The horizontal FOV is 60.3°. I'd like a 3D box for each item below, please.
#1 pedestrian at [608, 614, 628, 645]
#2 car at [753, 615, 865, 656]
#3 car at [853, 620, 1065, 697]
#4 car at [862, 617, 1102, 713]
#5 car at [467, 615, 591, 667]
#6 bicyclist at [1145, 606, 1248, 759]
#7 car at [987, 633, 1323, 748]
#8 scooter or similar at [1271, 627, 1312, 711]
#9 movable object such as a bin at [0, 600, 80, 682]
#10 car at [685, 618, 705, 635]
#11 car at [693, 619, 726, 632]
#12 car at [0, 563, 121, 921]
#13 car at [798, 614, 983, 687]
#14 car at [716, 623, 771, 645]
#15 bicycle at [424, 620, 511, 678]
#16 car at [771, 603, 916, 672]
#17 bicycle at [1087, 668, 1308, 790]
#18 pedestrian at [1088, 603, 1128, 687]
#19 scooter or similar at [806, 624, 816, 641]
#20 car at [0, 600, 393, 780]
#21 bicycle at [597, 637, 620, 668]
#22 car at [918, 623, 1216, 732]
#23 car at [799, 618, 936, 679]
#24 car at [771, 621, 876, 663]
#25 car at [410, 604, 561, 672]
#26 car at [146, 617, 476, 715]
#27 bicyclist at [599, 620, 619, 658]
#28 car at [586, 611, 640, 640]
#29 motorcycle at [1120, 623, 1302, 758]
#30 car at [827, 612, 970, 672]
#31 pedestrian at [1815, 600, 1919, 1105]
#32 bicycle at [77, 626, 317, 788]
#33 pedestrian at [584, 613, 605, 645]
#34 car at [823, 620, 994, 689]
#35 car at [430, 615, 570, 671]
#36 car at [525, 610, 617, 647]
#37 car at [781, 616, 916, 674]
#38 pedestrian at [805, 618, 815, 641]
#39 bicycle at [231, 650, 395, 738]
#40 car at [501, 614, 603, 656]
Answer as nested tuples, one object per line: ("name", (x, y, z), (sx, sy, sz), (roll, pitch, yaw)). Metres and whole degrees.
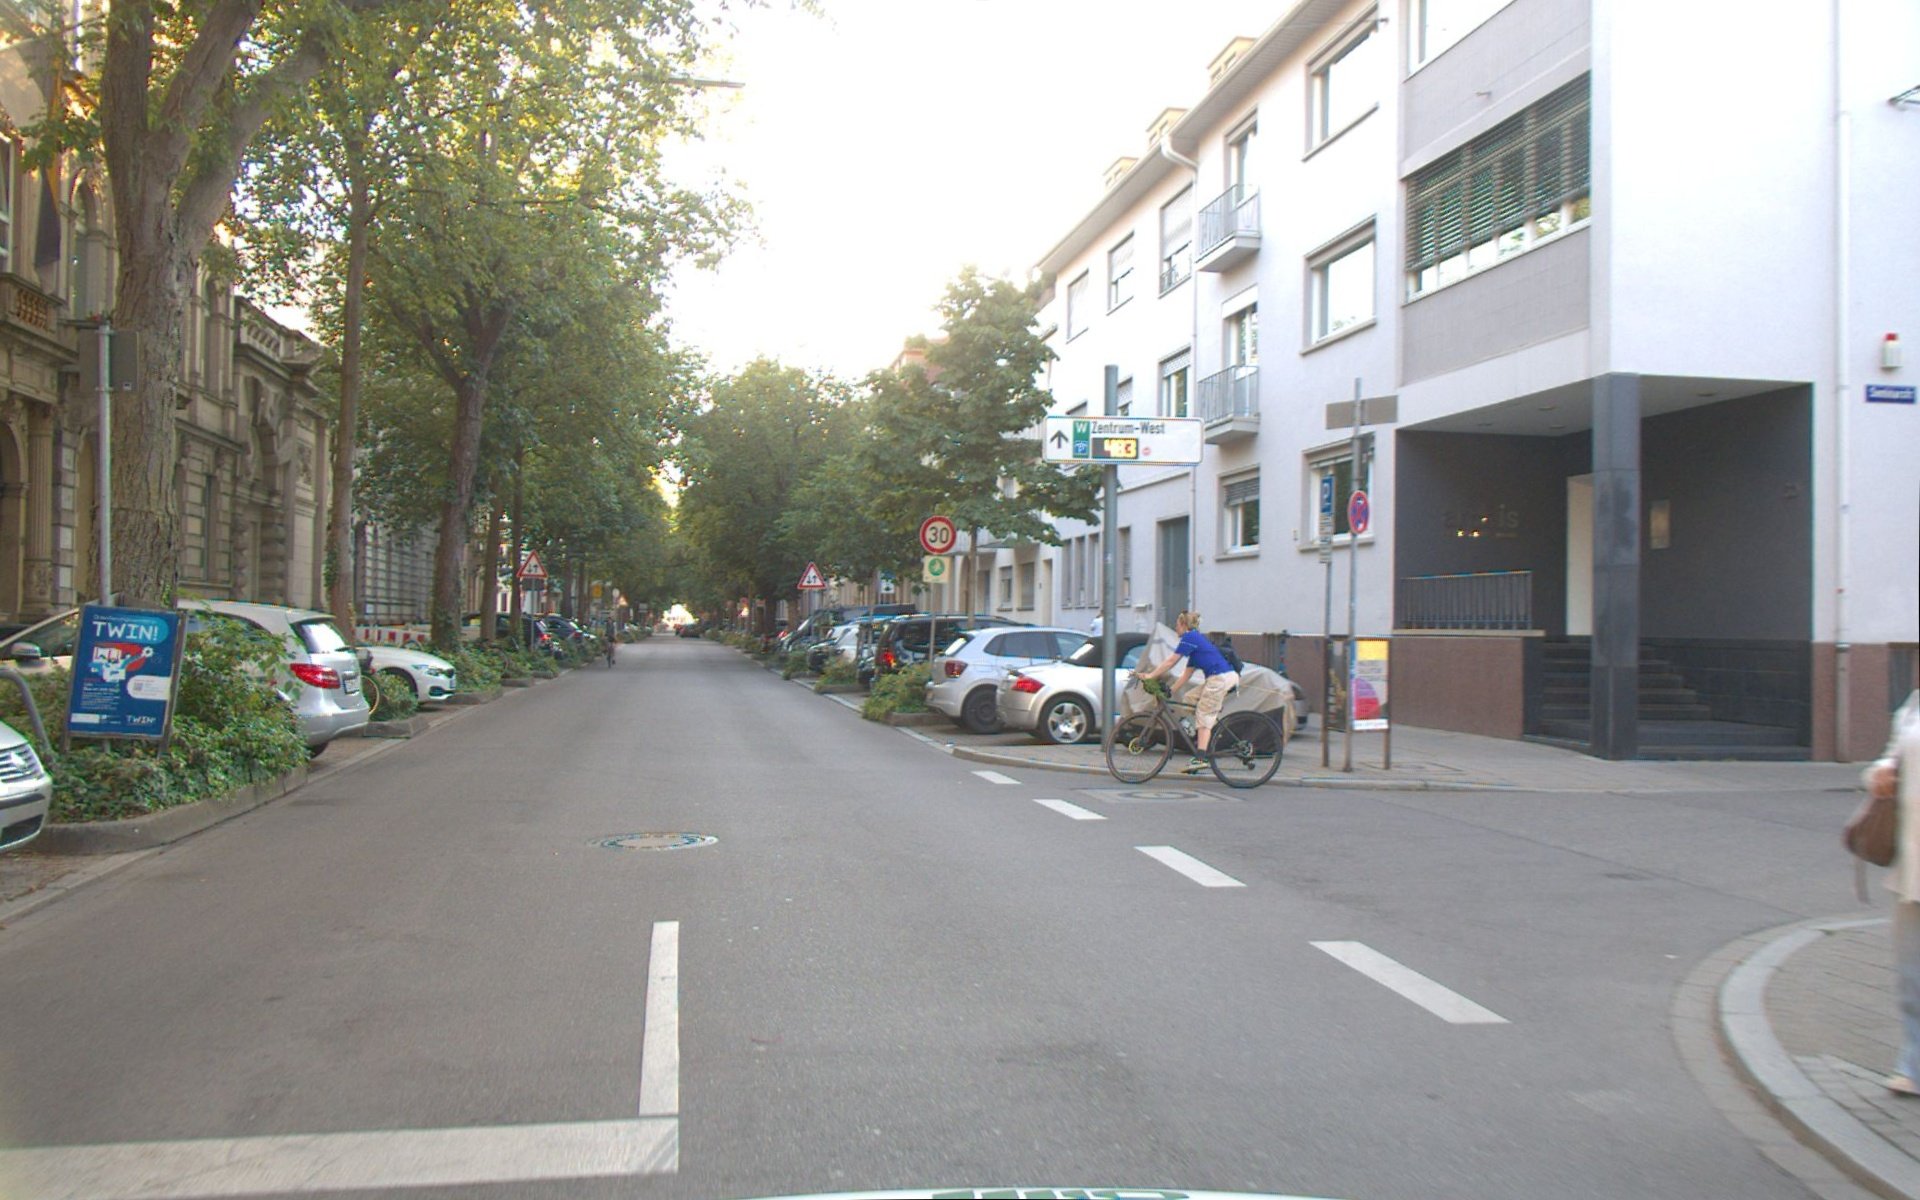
("pedestrian", (-18.858, 1.605, 91.292), (0.811, 1.700, 0.797), (-1, -1, 15))
("car", (-6.223, 1.444, 68.018), (4.324, 1.418, 1.880), (-3, -1, -12))
("car", (-0.059, 1.209, 35.088), (4.238, 1.522, 1.789), (-1, -1, -11))
("car", (0.356, 1.156, 29.724), (4.034, 1.646, 1.956), (1, -1, -10))
("car", (-15.662, 1.478, 60.304), (4.125, 1.701, 1.903), (2, -1, -10))
("bicyclist", (2.215, 0.763, 15.461), (0.760, 1.387, 0.673), (-1, -3, 31))
("car", (2.392, 1.120, 20.863), (3.911, 1.356, 1.791), (1, -1, -7))
("scooter or similar", (5.161, 1.053, 25.795), (0.338, 1.261, 1.420), (1, -1, 0))
("movable object such as a bin", (-12.939, 0.561, 23.038), (0.786, 1.080, 1.313), (3, -1, -11))
("car", (-26.621, 2.692, 166.309), (1.921, 1.593, 4.272), (-1, -1, -10))
("car", (-31.968, 3.282, 211.090), (4.191, 1.593, 1.958), (-1, -1, -10))
("car", (-6.938, 0.597, 8.373), (4.347, 1.752, 1.885), (3, -1, -12))
("car", (-1.832, 1.290, 43.019), (4.509, 1.606, 1.938), (-3, -1, -12))
("car", (-18.422, 2.913, 140.802), (4.630, 1.740, 1.946), (1, -1, -9))
("bicycle", (-10.955, 1.089, 36.817), (1.736, 1.254, 0.499), (1, -2, -5))
("car", (-3.951, 1.263, 55.824), (4.606, 2.046, 2.032), (-3, -1, -11))
("bicycle", (2.204, 1.178, 15.452), (1.934, 1.048, 0.672), (-1, -2, 31))
("pedestrian", (3.267, 0.985, 36.602), (0.684, 1.827, 0.879), (0, -1, -9))
("scooter or similar", (-10.327, 2.223, 114.321), (0.643, 1.173, 0.829), (0, -1, -9))
("car", (-7.739, 0.825, 15.757), (4.092, 1.584, 1.823), (1, -1, -8))
("bicycle", (-11.983, 1.789, 56.438), (0.660, 1.011, 1.754), (0, -1, -10))
("car", (1.465, 1.071, 23.377), (3.914, 1.463, 1.790), (1, -1, -10))
("car", (-2.843, 1.450, 50.378), (3.895, 1.606, 1.846), (-3, -1, -12))
("car", (-5.448, 1.663, 65.698), (3.917, 1.463, 1.921), (-3, -1, -12))
("car", (-13.719, 1.102, 48.026), (3.894, 1.624, 1.776), (5, -2, -10))
("car", (-10.017, 1.026, 25.848), (4.429, 1.415, 1.912), (1, -1, -9))
("bicyclist", (-11.977, 1.336, 56.450), (0.660, 1.286, 0.646), (0, -1, -10))
("car", (-30.858, 2.258, 147.151), (4.597, 2.521, 1.995), (1, -2, -10))
("motorcycle", (2.694, 0.961, 17.976), (1.867, 1.417, 1.000), (0, -1, 3))
("car", (-1.724, 1.159, 45.846), (3.726, 1.448, 1.693), (-3, -1, -12))
("pedestrian", (3.198, 0.767, 5.183), (0.593, 1.538, 0.710), (-1, -1, -39))
("bicycle", (-6.627, 0.923, 14.474), (1.765, 1.350, 0.770), (1, -1, -16))
("pedestrian", (-20.004, 1.578, 90.548), (0.811, 1.767, 0.797), (-1, -1, 15))
("car", (-1.292, 1.324, 40.766), (3.998, 1.454, 1.814), (-3, -1, -8))
("car", (-14.198, 1.325, 51.192), (3.893, 1.411, 1.761), (4, -1, -9))
("car", (-19.734, 1.425, 84.075), (4.344, 1.680, 1.868), (2, -1, -9))
("car", (-3.616, 1.439, 53.402), (4.083, 1.606, 1.964), (-3, -1, -12))
("pedestrian", (-10.415, 2.045, 114.857), (0.643, 1.563, 0.829), (0, -1, -9))
("bicycle", (-7.994, 1.161, 20.484), (1.761, 1.027, 0.597), (2, -2, -10))
("car", (-16.535, 1.432, 67.160), (3.874, 1.559, 1.902), (2, -2, -11))
